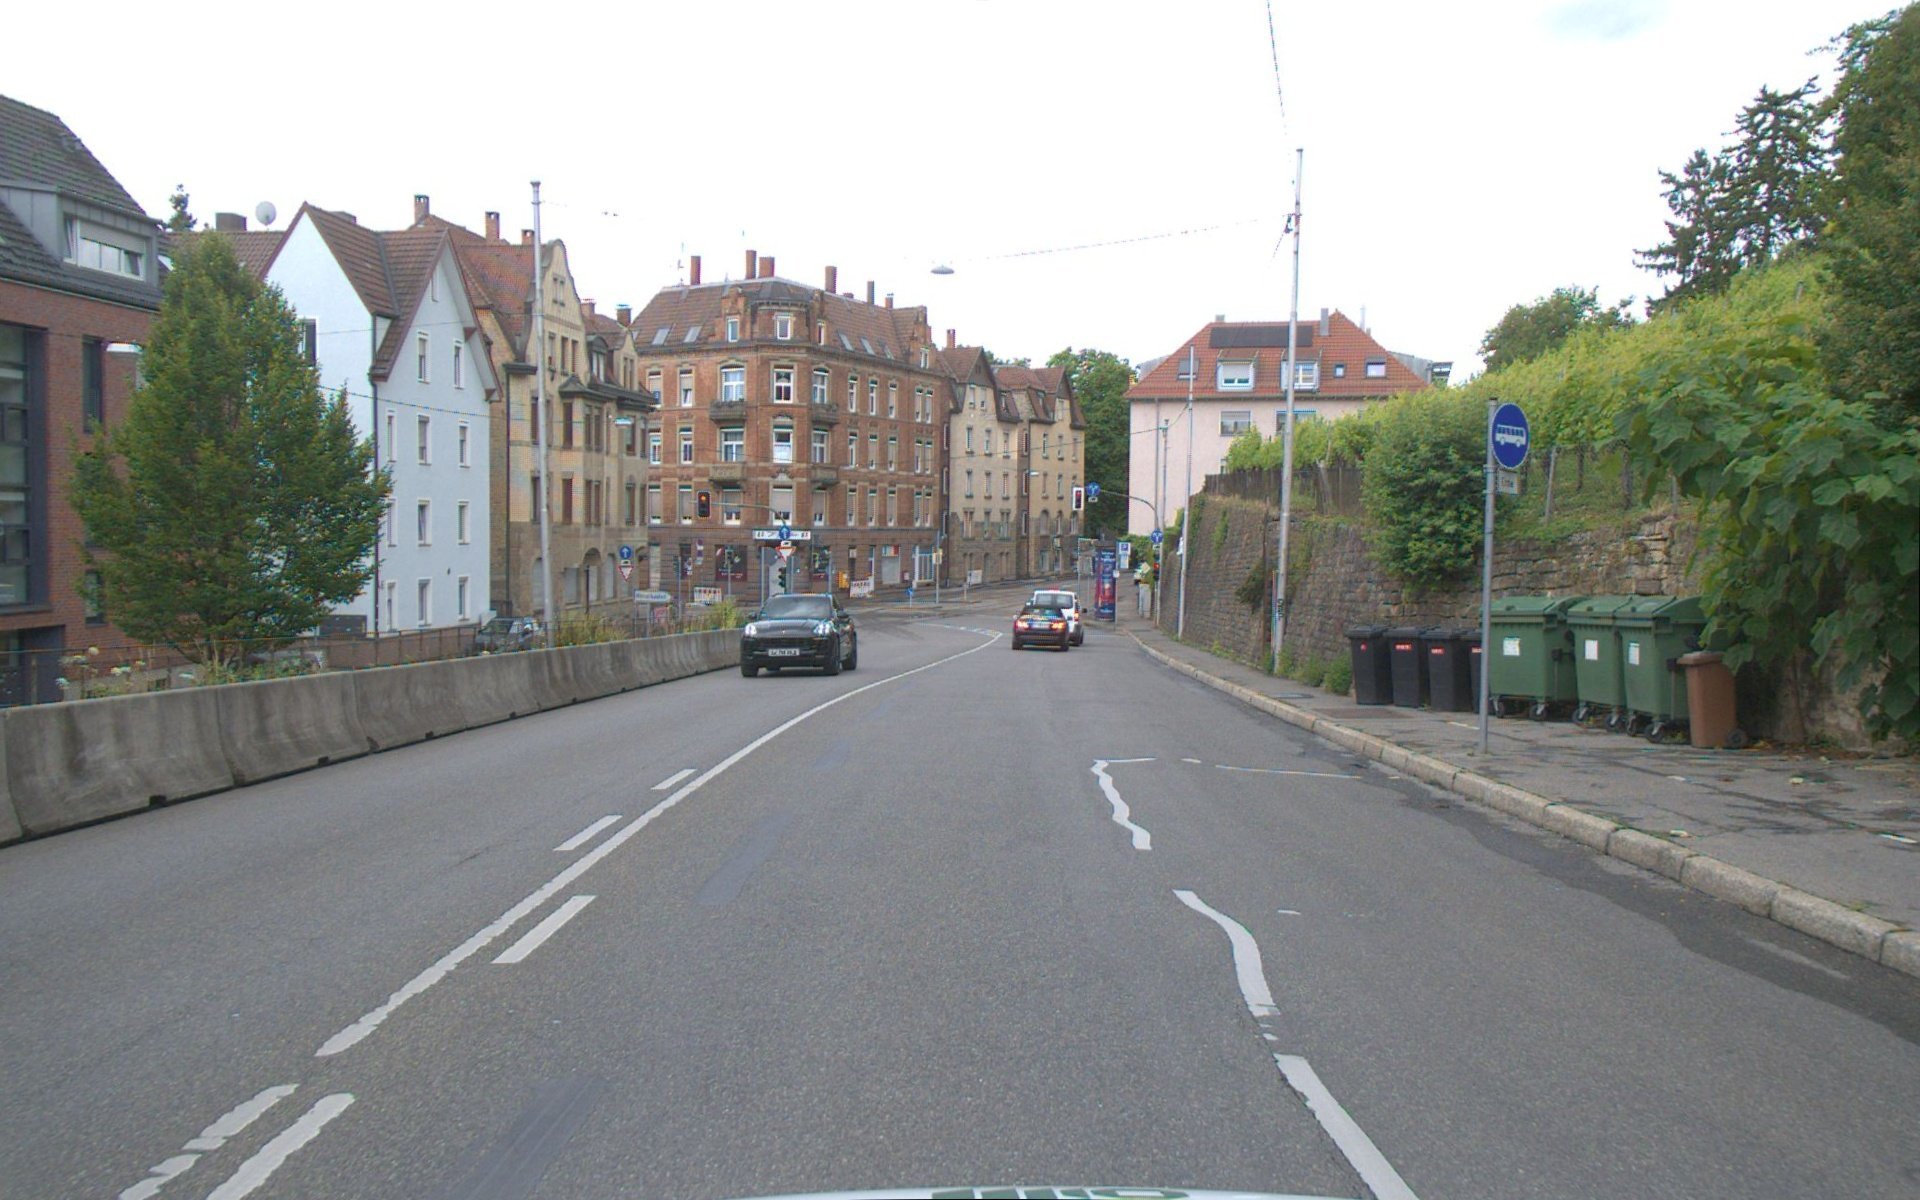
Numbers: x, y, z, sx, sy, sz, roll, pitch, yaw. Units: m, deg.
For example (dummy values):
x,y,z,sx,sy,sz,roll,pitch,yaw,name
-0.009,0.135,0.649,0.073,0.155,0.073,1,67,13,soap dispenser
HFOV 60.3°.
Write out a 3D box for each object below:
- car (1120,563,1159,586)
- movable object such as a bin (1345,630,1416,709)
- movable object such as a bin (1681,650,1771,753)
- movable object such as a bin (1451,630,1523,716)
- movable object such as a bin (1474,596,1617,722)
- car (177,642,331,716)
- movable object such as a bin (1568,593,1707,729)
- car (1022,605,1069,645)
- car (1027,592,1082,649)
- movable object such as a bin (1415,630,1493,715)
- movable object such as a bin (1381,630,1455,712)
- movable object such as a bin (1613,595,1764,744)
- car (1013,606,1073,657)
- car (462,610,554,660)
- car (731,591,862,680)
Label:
x,y,z,sx,sy,sz,roll,pitch,yaw,name
14.026,-1.995,129.114,1.805,1.732,3.997,1,2,25,car
5.855,0.957,23.057,0.730,1.077,0.676,0,0,-16,movable object such as a bin
7.428,0.977,16.067,0.582,0.958,0.640,0,0,0,movable object such as a bin
6.708,0.920,21.064,0.698,1.077,0.545,0,0,-16,movable object such as a bin
7.101,0.690,20.115,1.030,1.470,1.412,0,0,-16,movable object such as a bin
-18.142,1.998,42.729,1.756,1.636,4.218,-2,0,7,car
7.525,0.661,18.435,1.026,1.470,1.204,0,0,-3,movable object such as a bin
3.455,0.980,66.533,1.802,1.466,4.002,2,0,3,car
3.403,0.697,59.326,1.869,1.917,4.002,2,0,3,car
6.464,0.942,21.658,0.730,1.077,0.676,0,0,-16,movable object such as a bin
6.204,0.954,22.426,0.730,1.077,0.676,0,0,-16,movable object such as a bin
7.480,0.691,17.038,1.026,1.470,1.205,0,0,0,movable object such as a bin
2.661,0.970,52.512,1.778,1.455,4.002,2,1,3,car
-15.996,1.203,58.780,1.756,1.536,4.004,0,2,7,car
-3.230,0.663,33.523,1.940,1.602,4.377,-2,0,3,car
